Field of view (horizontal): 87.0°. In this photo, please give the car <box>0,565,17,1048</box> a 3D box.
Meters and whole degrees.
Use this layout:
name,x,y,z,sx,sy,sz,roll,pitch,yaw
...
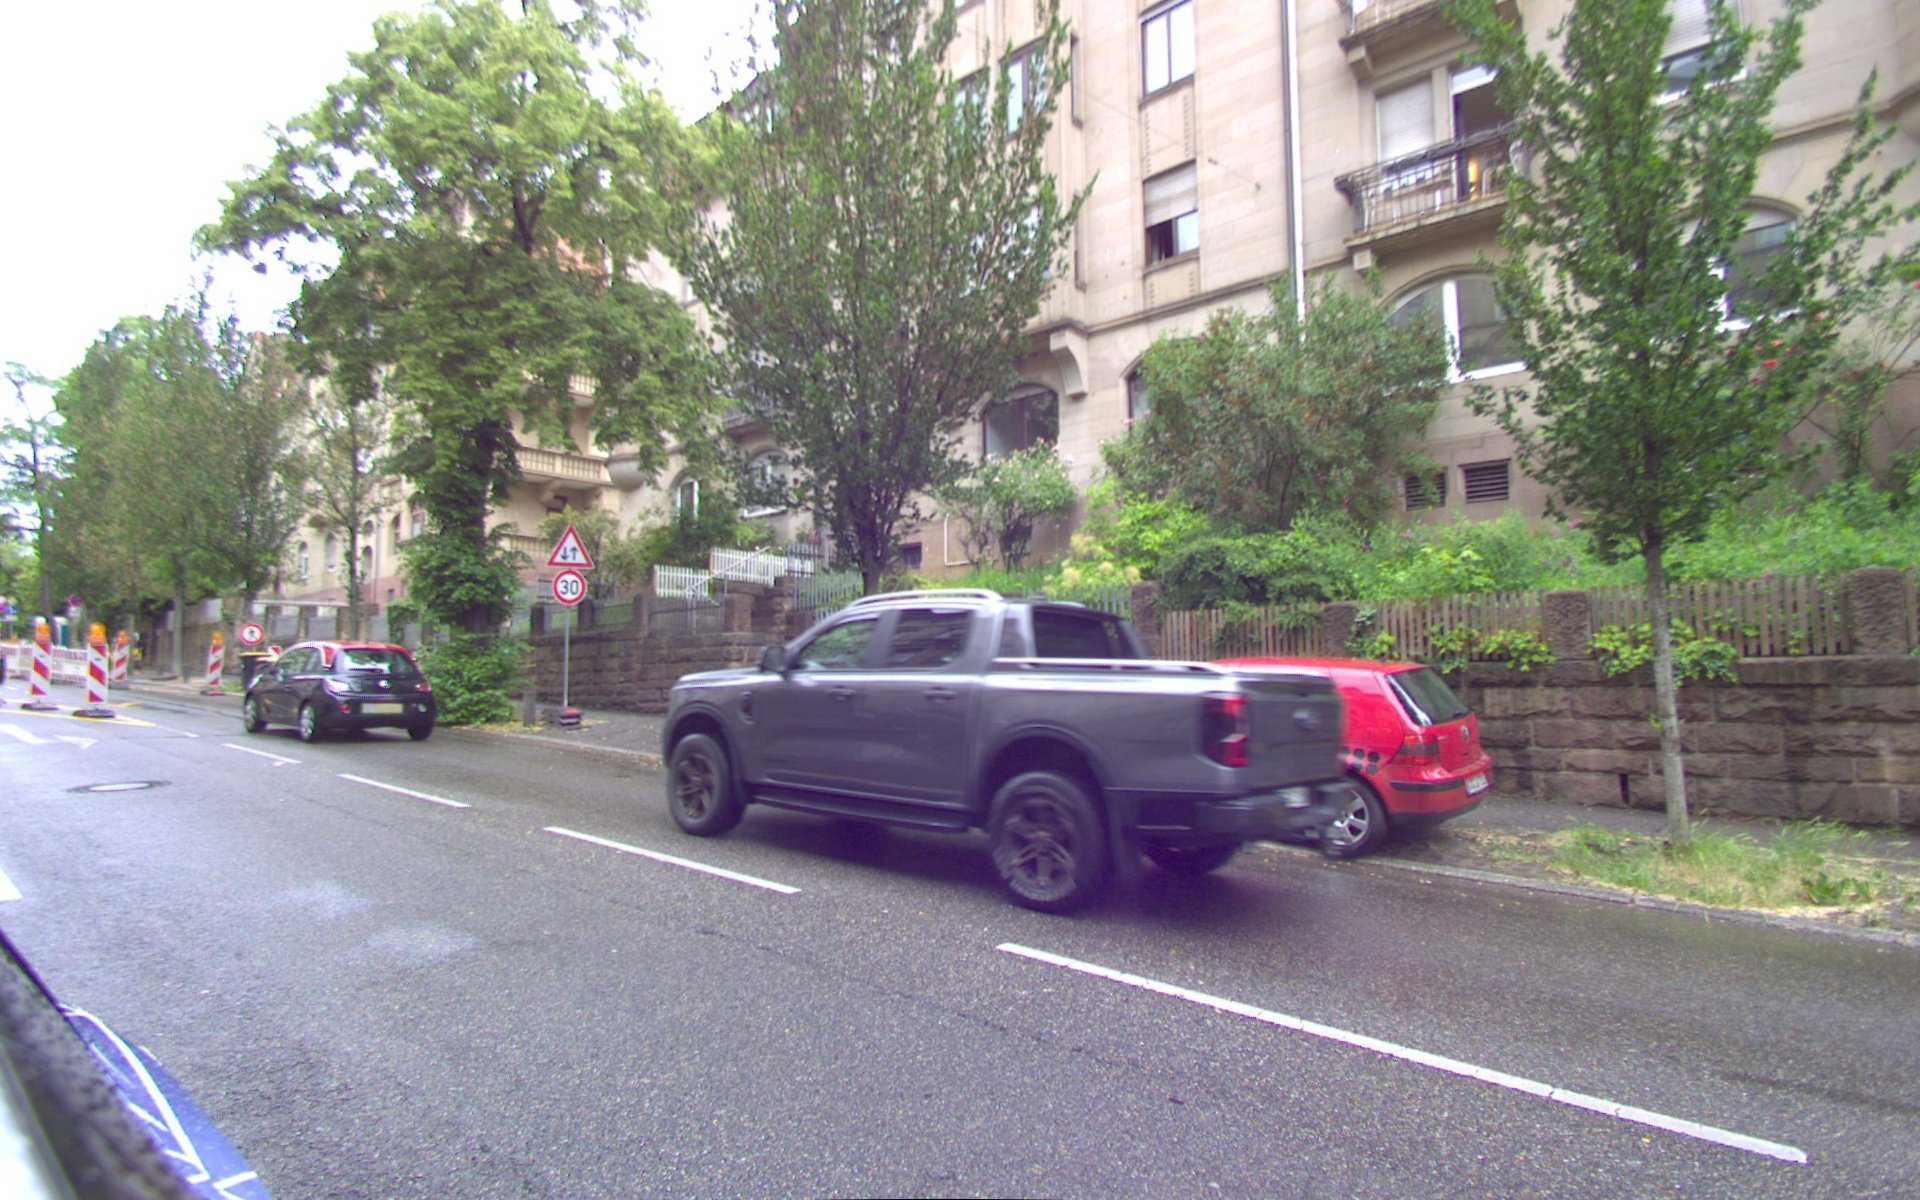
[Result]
name,x,y,z,sx,sy,sz,roll,pitch,yaw
car,-5.396,0.761,4.160,4.520,1.685,1.799,-2,-3,42

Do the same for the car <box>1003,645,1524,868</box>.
name,x,y,z,sx,sy,sz,roll,pitch,yaw
car,2.439,1.143,8.814,4.062,1.462,1.596,-2,-3,42

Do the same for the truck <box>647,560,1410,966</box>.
name,x,y,z,sx,sy,sz,roll,pitch,yaw
truck,0.147,0.882,7.121,5.150,1.850,2.049,-2,-5,41

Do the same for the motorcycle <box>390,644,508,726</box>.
name,x,y,z,sx,sy,sz,roll,pitch,yaw
motorcycle,-9.718,1.555,19.159,3.058,1.425,0.792,-2,-2,38

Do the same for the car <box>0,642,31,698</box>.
name,x,y,z,sx,sy,sz,roll,pitch,yaw
car,-28.150,1.963,28.916,4.316,1.523,1.885,-2,-5,42

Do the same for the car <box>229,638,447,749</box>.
name,x,y,z,sx,sy,sz,roll,pitch,yaw
car,-9.532,1.364,15.428,3.652,1.483,1.649,-2,-6,39
